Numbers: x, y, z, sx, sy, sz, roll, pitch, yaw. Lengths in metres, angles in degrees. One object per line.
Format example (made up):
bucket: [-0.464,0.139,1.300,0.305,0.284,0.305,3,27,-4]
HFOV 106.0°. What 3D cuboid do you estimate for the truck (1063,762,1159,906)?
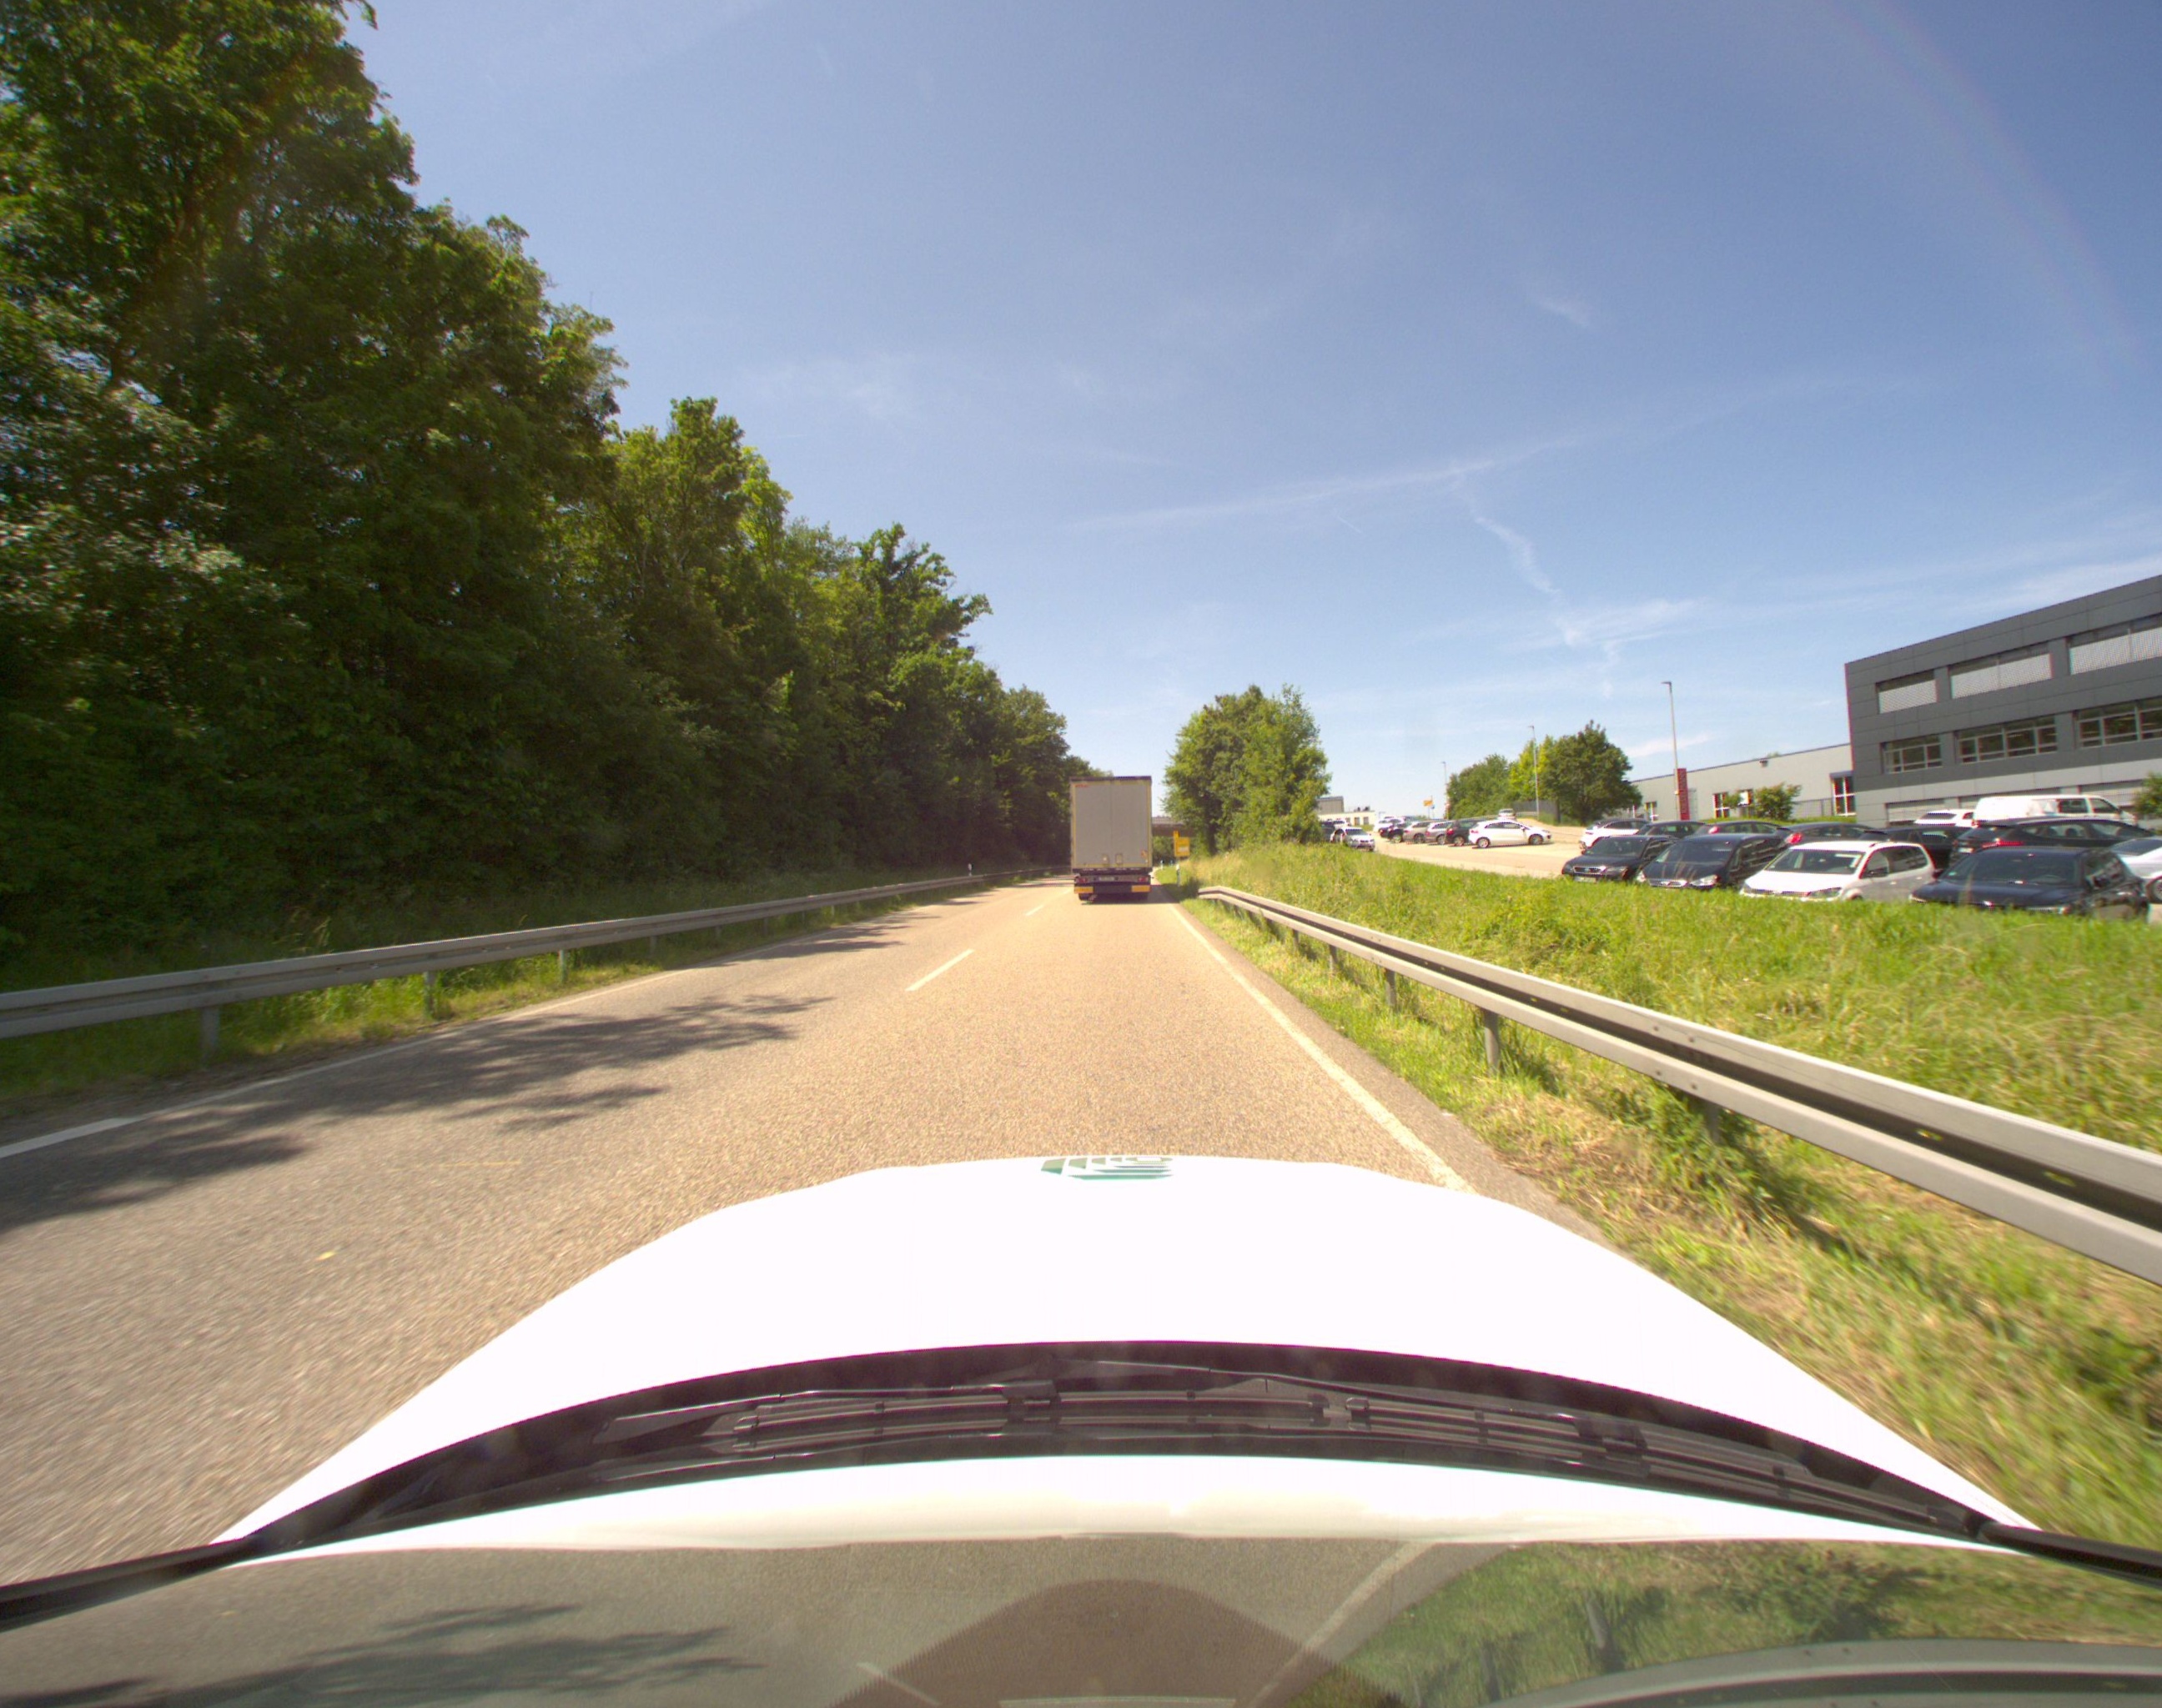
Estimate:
truck: [1.069,-0.611,30.035,2.855,4.359,9.792,-2,0,2]

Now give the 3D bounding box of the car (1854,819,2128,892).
car: [24.328,-0.016,22.061,4.530,1.628,1.831,4,2,27]

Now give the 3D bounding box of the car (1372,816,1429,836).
car: [28.745,-2.502,73.306,4.527,1.629,1.832,0,0,35]

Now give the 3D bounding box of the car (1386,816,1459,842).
car: [23.368,-1.663,55.940,4.532,1.629,1.830,-1,-1,21]

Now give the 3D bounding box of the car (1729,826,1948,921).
car: [15.504,0.377,16.637,4.387,1.685,1.872,2,2,-28]

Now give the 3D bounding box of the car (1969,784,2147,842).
car: [36.995,-1.539,30.913,4.555,1.949,1.821,-2,2,1]

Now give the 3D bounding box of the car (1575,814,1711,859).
car: [23.849,-0.773,34.779,4.530,1.628,1.831,4,2,27]

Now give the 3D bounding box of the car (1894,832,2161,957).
car: [15.428,0.596,13.226,4.387,1.685,1.872,2,2,-28]

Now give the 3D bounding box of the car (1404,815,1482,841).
car: [23.495,-1.702,52.992,4.533,1.628,1.830,1,2,21]

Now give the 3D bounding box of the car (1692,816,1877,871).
car: [24.495,-0.416,28.603,4.530,1.628,1.831,4,2,27]

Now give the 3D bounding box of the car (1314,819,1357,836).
car: [26.852,-2.809,85.923,4.388,1.685,1.872,-2,4,-28]

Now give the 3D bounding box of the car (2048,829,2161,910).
car: [23.928,0.403,16.916,4.530,1.628,1.831,4,2,27]

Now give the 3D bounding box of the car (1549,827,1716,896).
car: [15.116,0.218,22.298,4.387,1.685,1.872,2,2,-28]

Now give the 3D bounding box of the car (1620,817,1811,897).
car: [15.039,0.076,19.286,4.387,1.685,1.872,2,2,-28]

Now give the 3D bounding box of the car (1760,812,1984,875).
car: [24.152,-0.369,25.128,4.530,1.628,1.831,4,2,27]

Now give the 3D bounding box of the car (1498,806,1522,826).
car: [41.559,-3.660,78.797,1.789,1.662,4.025,0,0,32]

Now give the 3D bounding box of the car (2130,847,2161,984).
car: [15.723,0.865,10.521,4.387,1.685,1.872,2,2,-28]

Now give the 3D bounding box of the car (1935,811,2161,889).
car: [24.001,-0.089,19.461,4.530,1.628,1.831,4,2,27]

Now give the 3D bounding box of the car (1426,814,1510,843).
car: [23.583,-1.516,49.784,4.532,1.629,1.830,-1,1,21]

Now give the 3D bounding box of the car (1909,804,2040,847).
car: [37.320,-1.200,34.087,3.648,1.588,1.685,-2,2,1]

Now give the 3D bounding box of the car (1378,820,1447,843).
car: [24.053,-1.602,59.181,4.532,1.629,1.830,0,0,21]

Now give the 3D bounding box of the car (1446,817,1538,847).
car: [23.514,-1.279,46.784,4.533,1.628,1.830,1,1,21]

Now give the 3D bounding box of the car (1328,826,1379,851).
car: [16.139,-0.958,48.434,1.620,1.353,3.707,3,2,-3]

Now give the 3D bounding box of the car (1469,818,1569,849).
car: [23.585,-1.125,44.035,4.532,1.628,1.830,1,1,21]
